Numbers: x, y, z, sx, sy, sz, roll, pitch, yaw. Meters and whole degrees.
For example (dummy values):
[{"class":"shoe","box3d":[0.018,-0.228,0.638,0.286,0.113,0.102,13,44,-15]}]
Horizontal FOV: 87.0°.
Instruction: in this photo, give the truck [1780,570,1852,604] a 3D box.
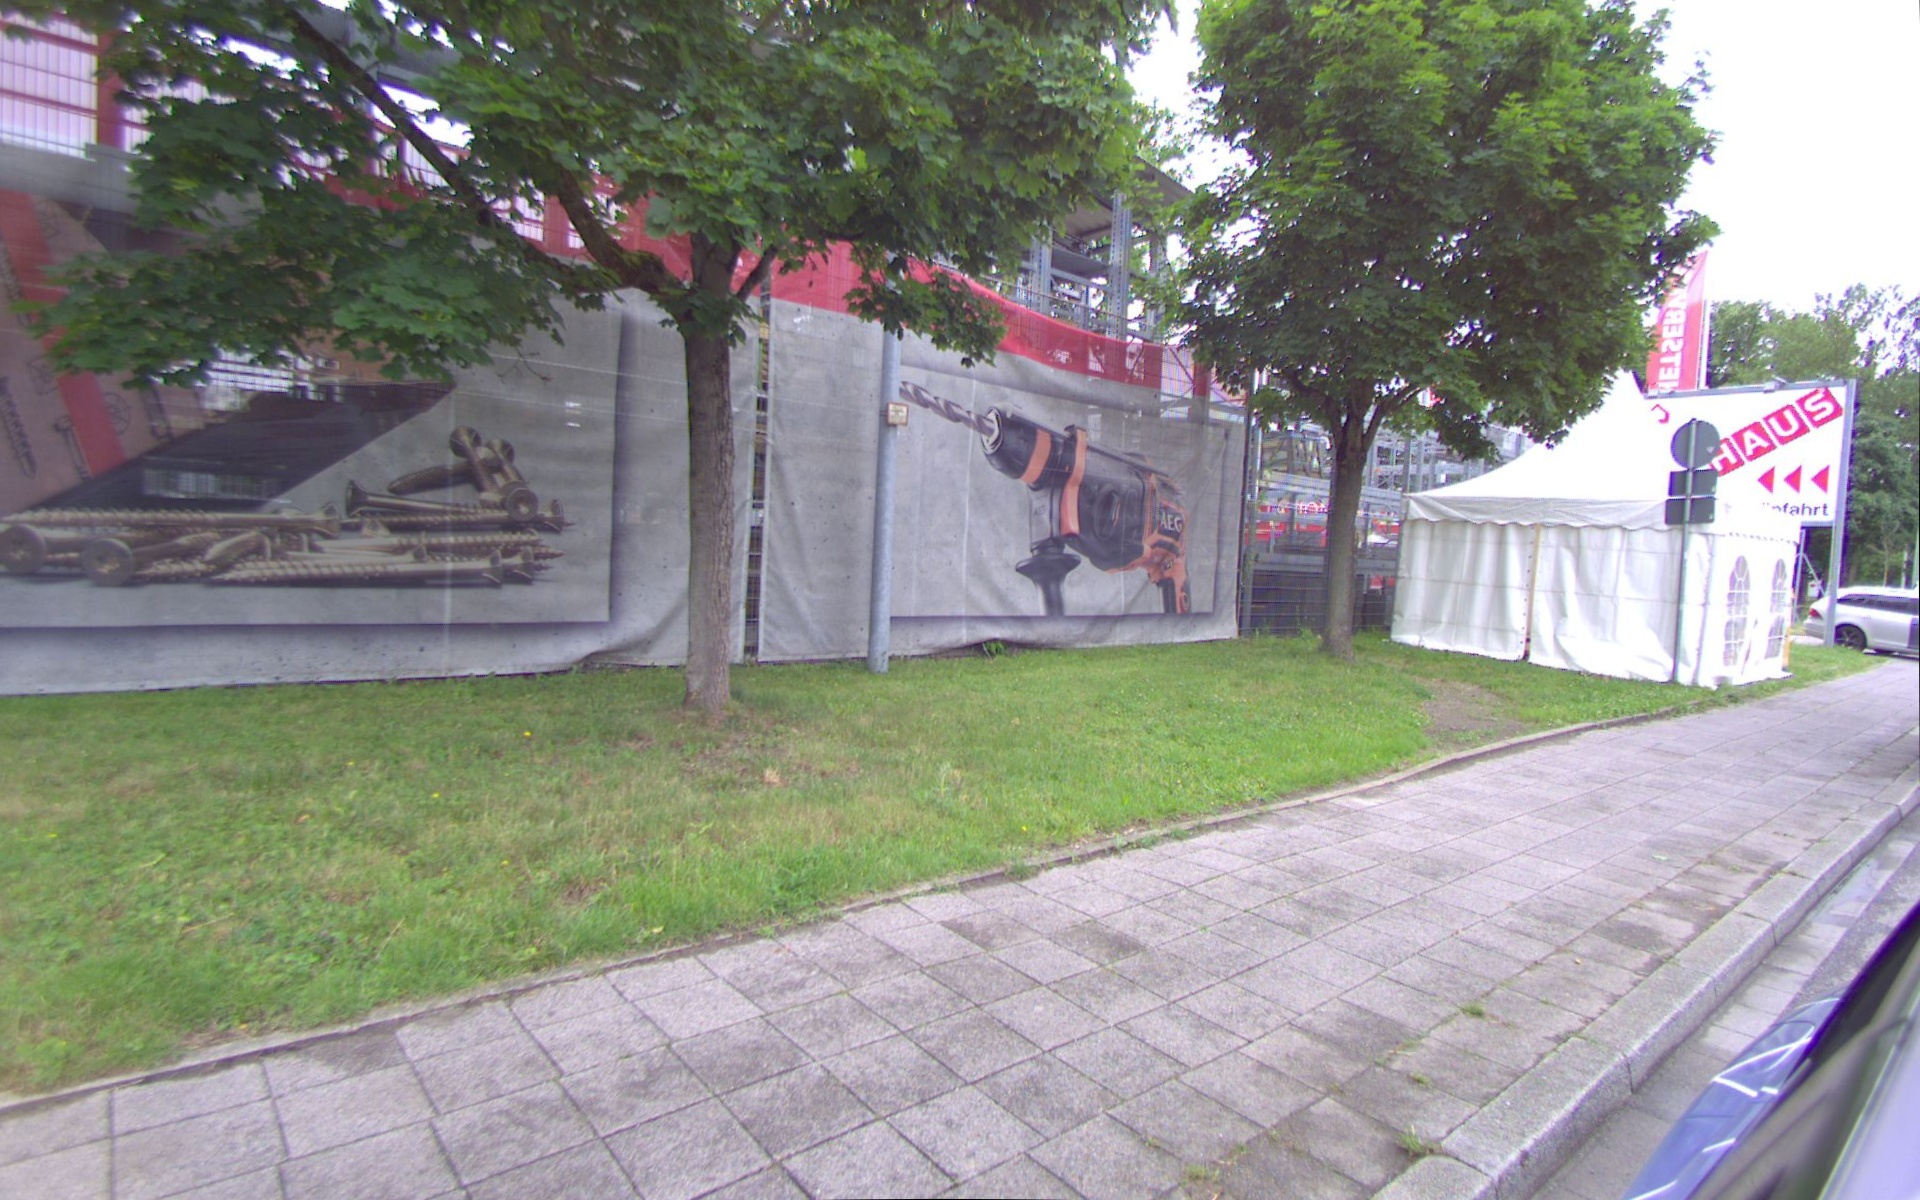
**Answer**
[{"class":"truck","box3d":[69.279,-1.061,81.954,3.924,2.425,2.001,3,3,0]}]

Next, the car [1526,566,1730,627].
[{"class":"car","box3d":[19.078,-0.160,29.090,1.904,1.445,4.494,-1,4,-38]}]

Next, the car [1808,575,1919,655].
[{"class":"car","box3d":[20.733,0.343,21.518,1.739,1.603,3.699,1,2,-22]}]
